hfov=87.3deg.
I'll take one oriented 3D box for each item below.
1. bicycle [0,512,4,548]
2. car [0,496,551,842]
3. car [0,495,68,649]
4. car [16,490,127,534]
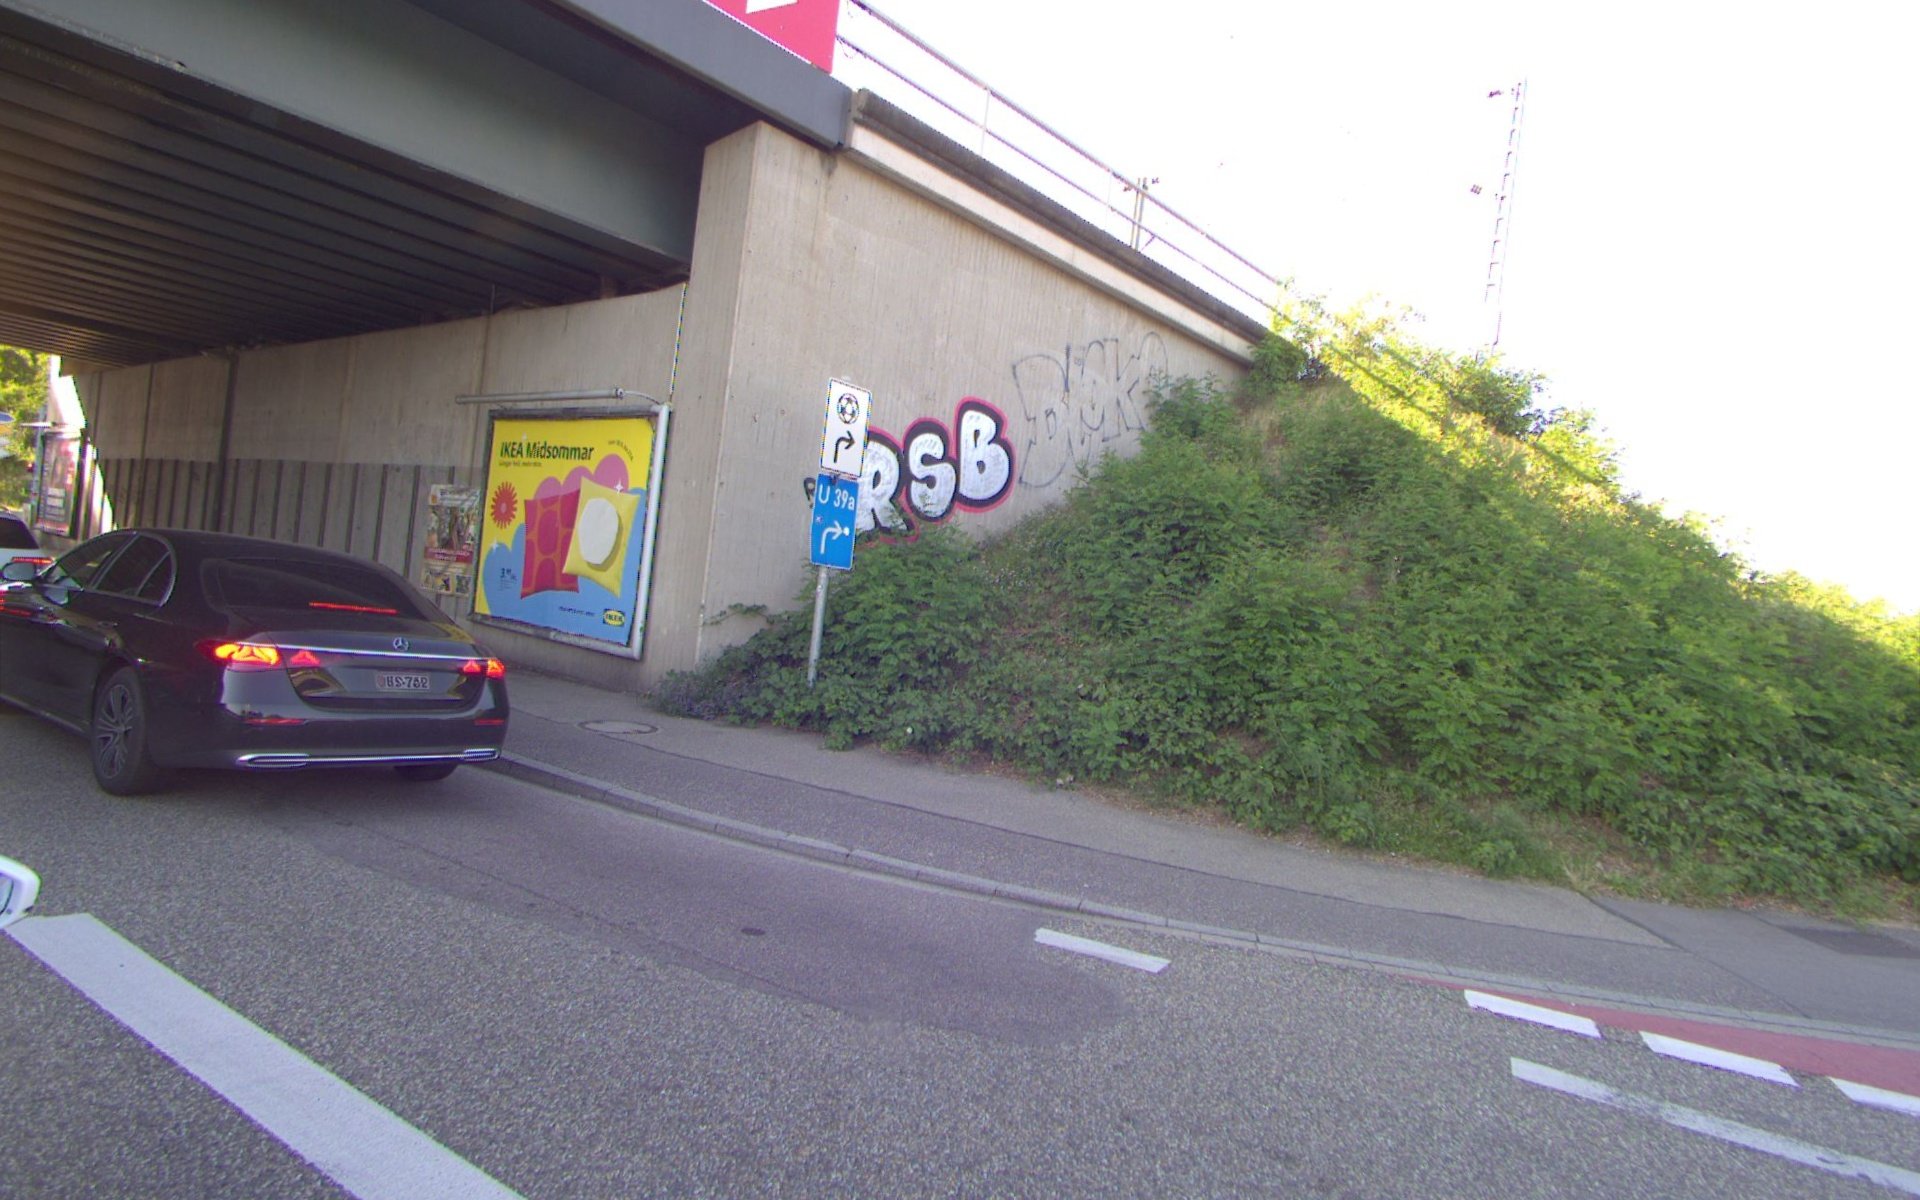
[{"bbox_3d":[-26.251,-1.916,26.863,2.844,0.975,0.578,5,-1,38],"label":"bicycle"},{"bbox_3d":[-4.984,0.259,6.745,4.530,1.472,1.743,7,-1,33],"label":"car"},{"bbox_3d":[-11.258,-0.442,10.677,3.772,1.514,1.772,5,0,35],"label":"car"},{"bbox_3d":[-42.936,-4.240,48.671,1.641,1.706,3.785,6,2,40],"label":"car"}]
